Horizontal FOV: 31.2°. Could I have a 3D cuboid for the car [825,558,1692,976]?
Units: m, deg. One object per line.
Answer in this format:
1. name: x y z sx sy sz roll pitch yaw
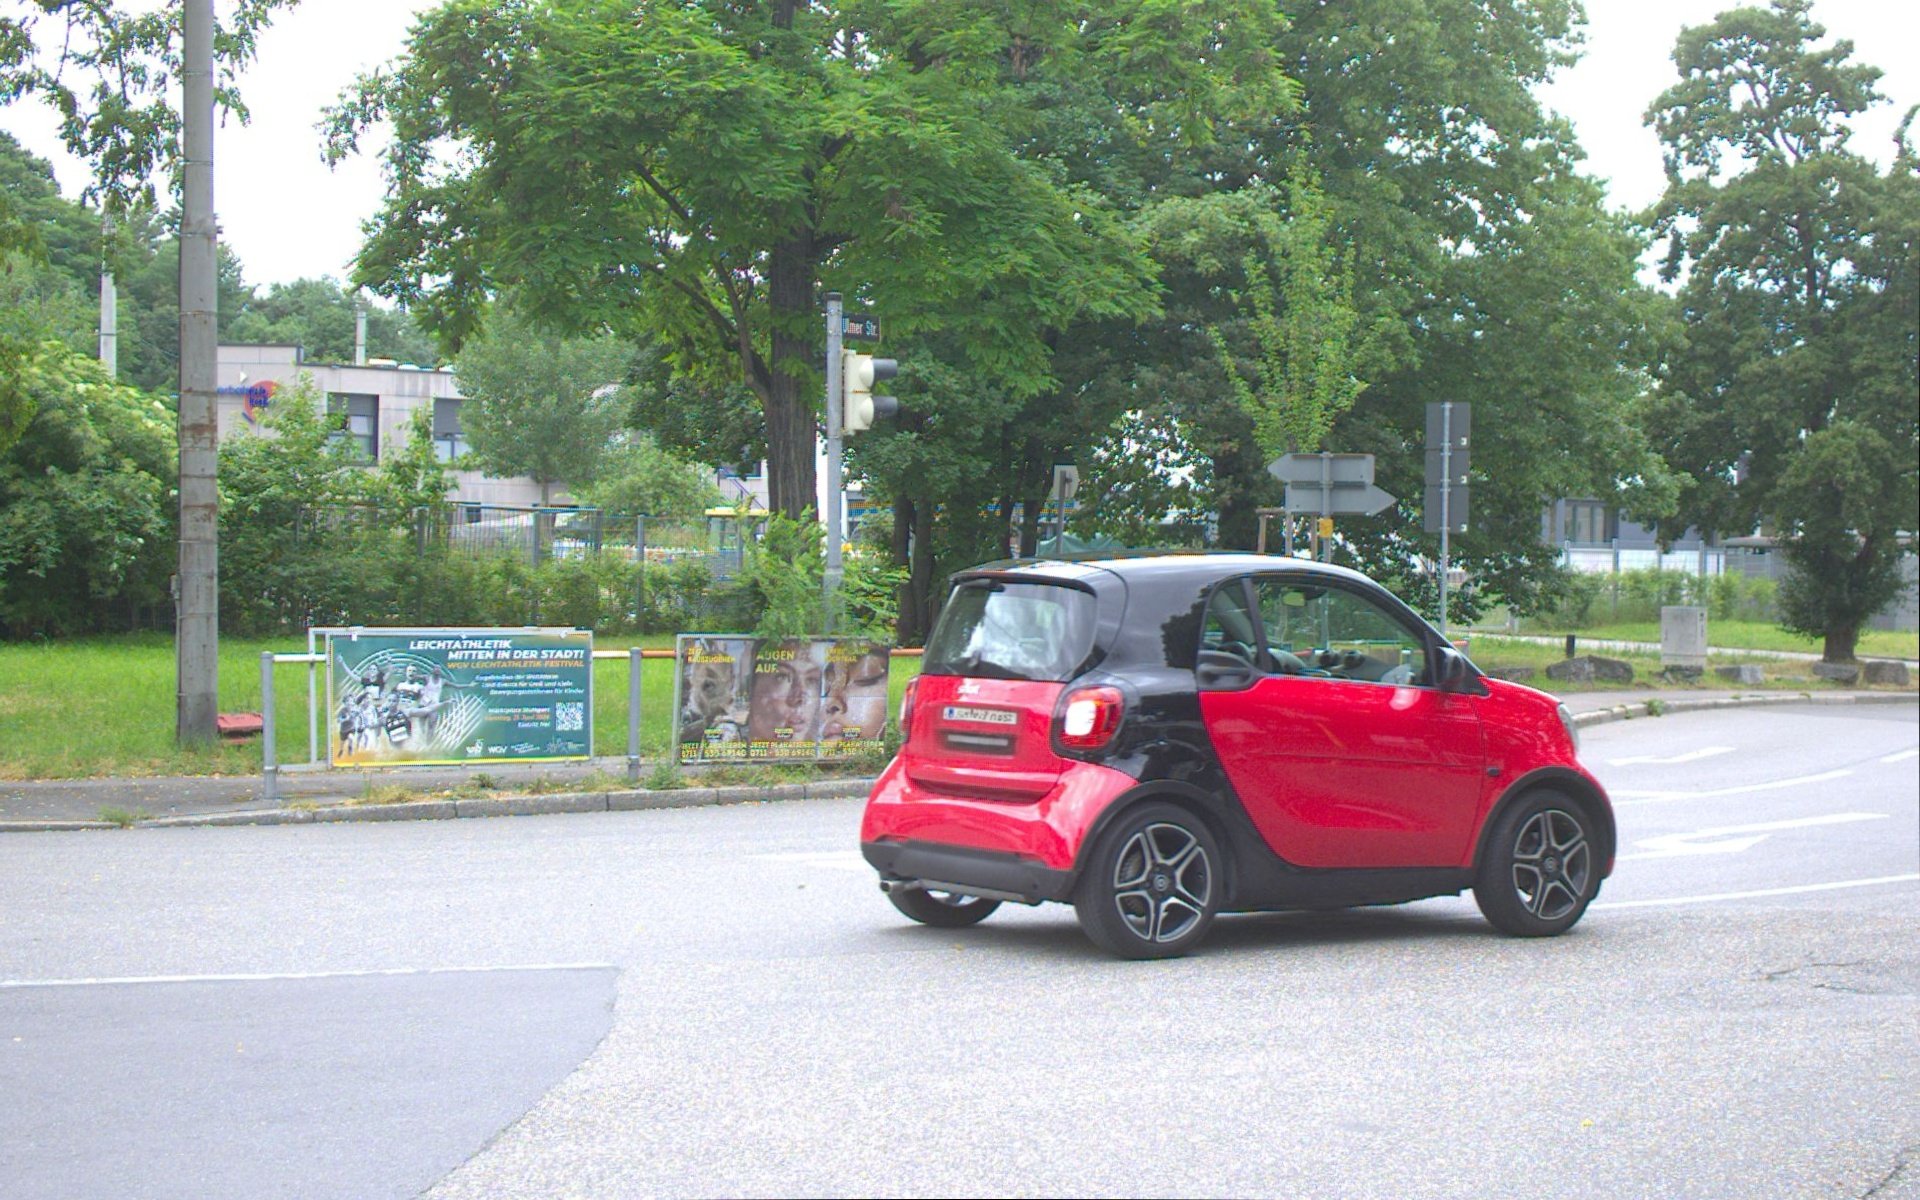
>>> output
1. car: 1.204 0.588 13.785 3.010 1.459 1.717 0 2 -32
